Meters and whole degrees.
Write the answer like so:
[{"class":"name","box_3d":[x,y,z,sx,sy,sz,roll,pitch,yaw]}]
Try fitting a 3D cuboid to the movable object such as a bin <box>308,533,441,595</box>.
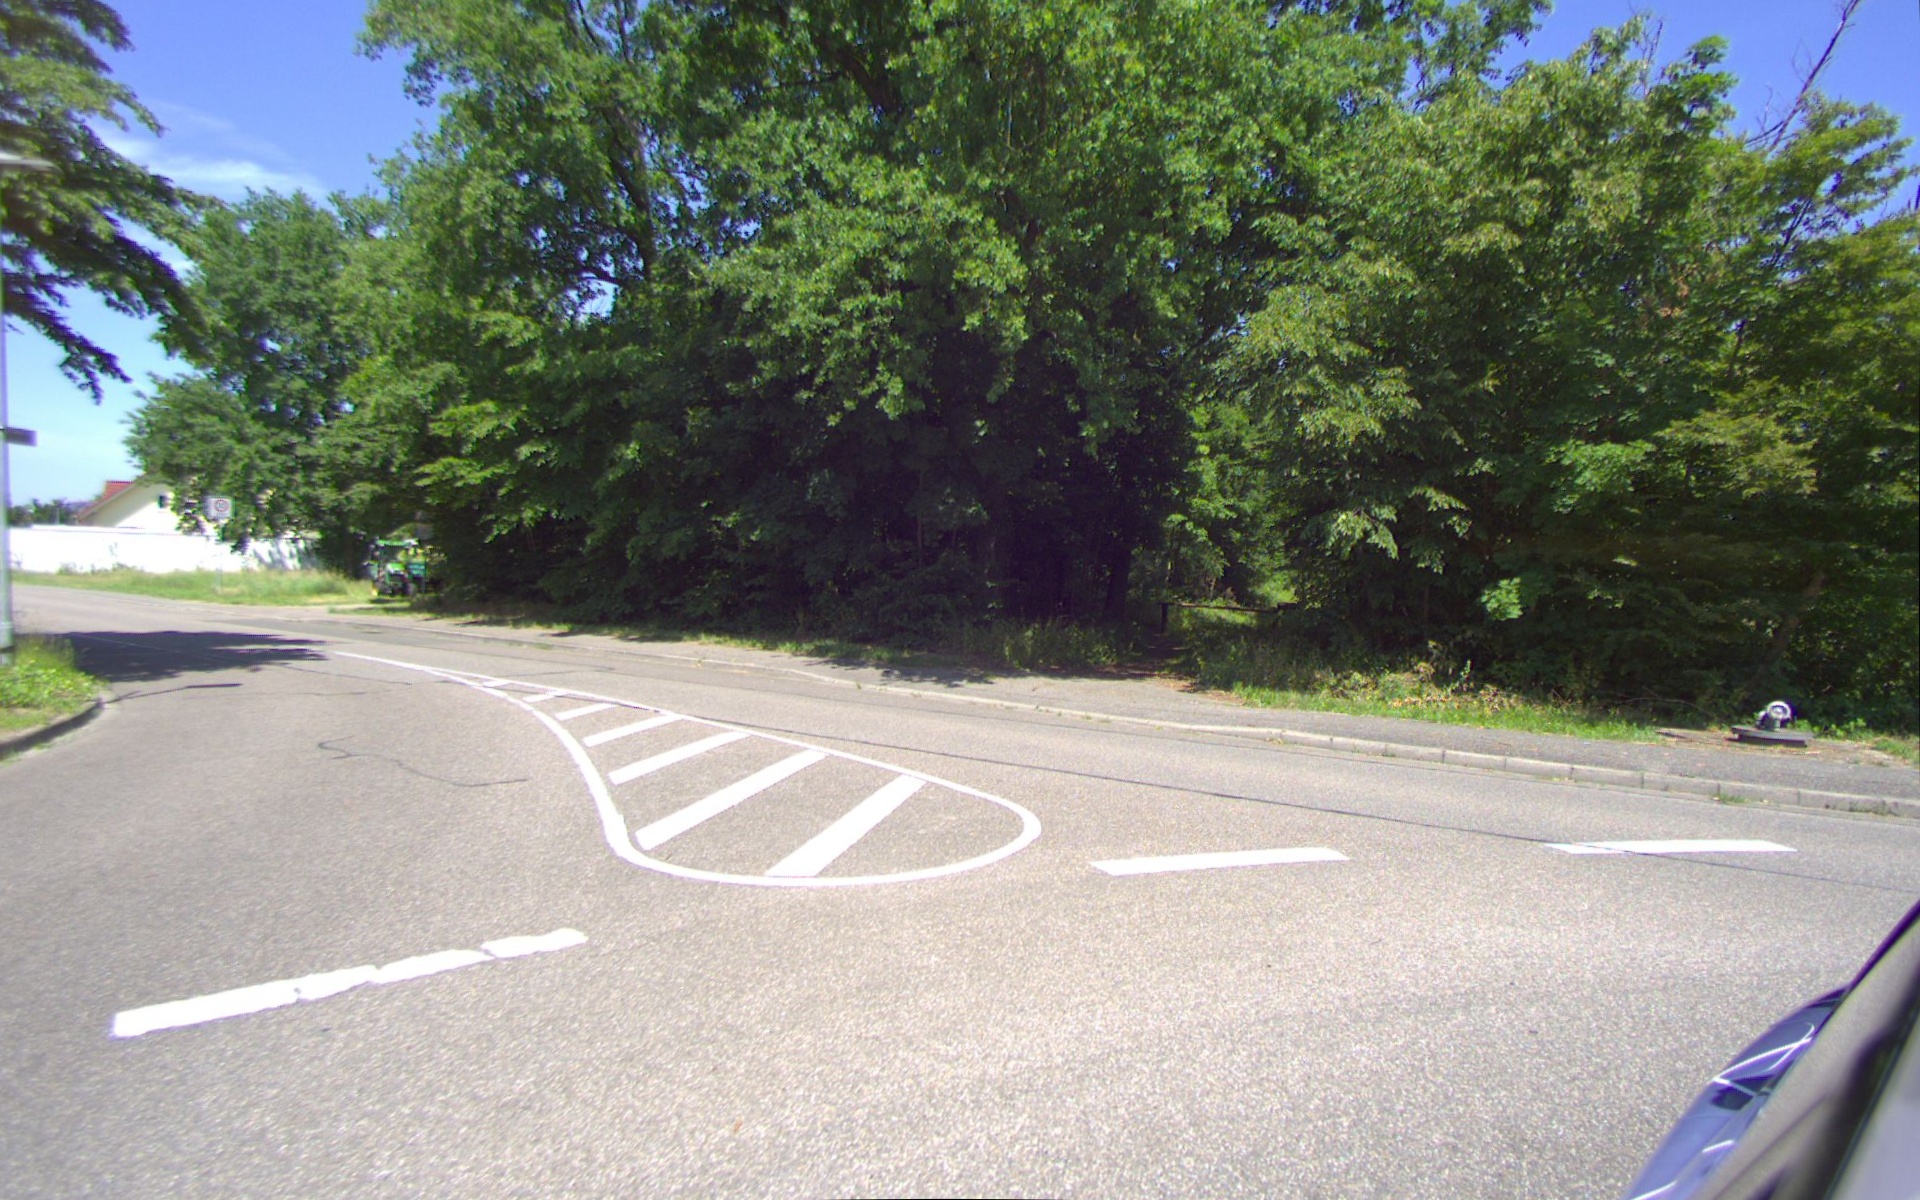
[{"class":"movable object such as a bin","box_3d":[-23.353,-1.439,40.339,5.201,2.305,2.494,3,1,33]}]
